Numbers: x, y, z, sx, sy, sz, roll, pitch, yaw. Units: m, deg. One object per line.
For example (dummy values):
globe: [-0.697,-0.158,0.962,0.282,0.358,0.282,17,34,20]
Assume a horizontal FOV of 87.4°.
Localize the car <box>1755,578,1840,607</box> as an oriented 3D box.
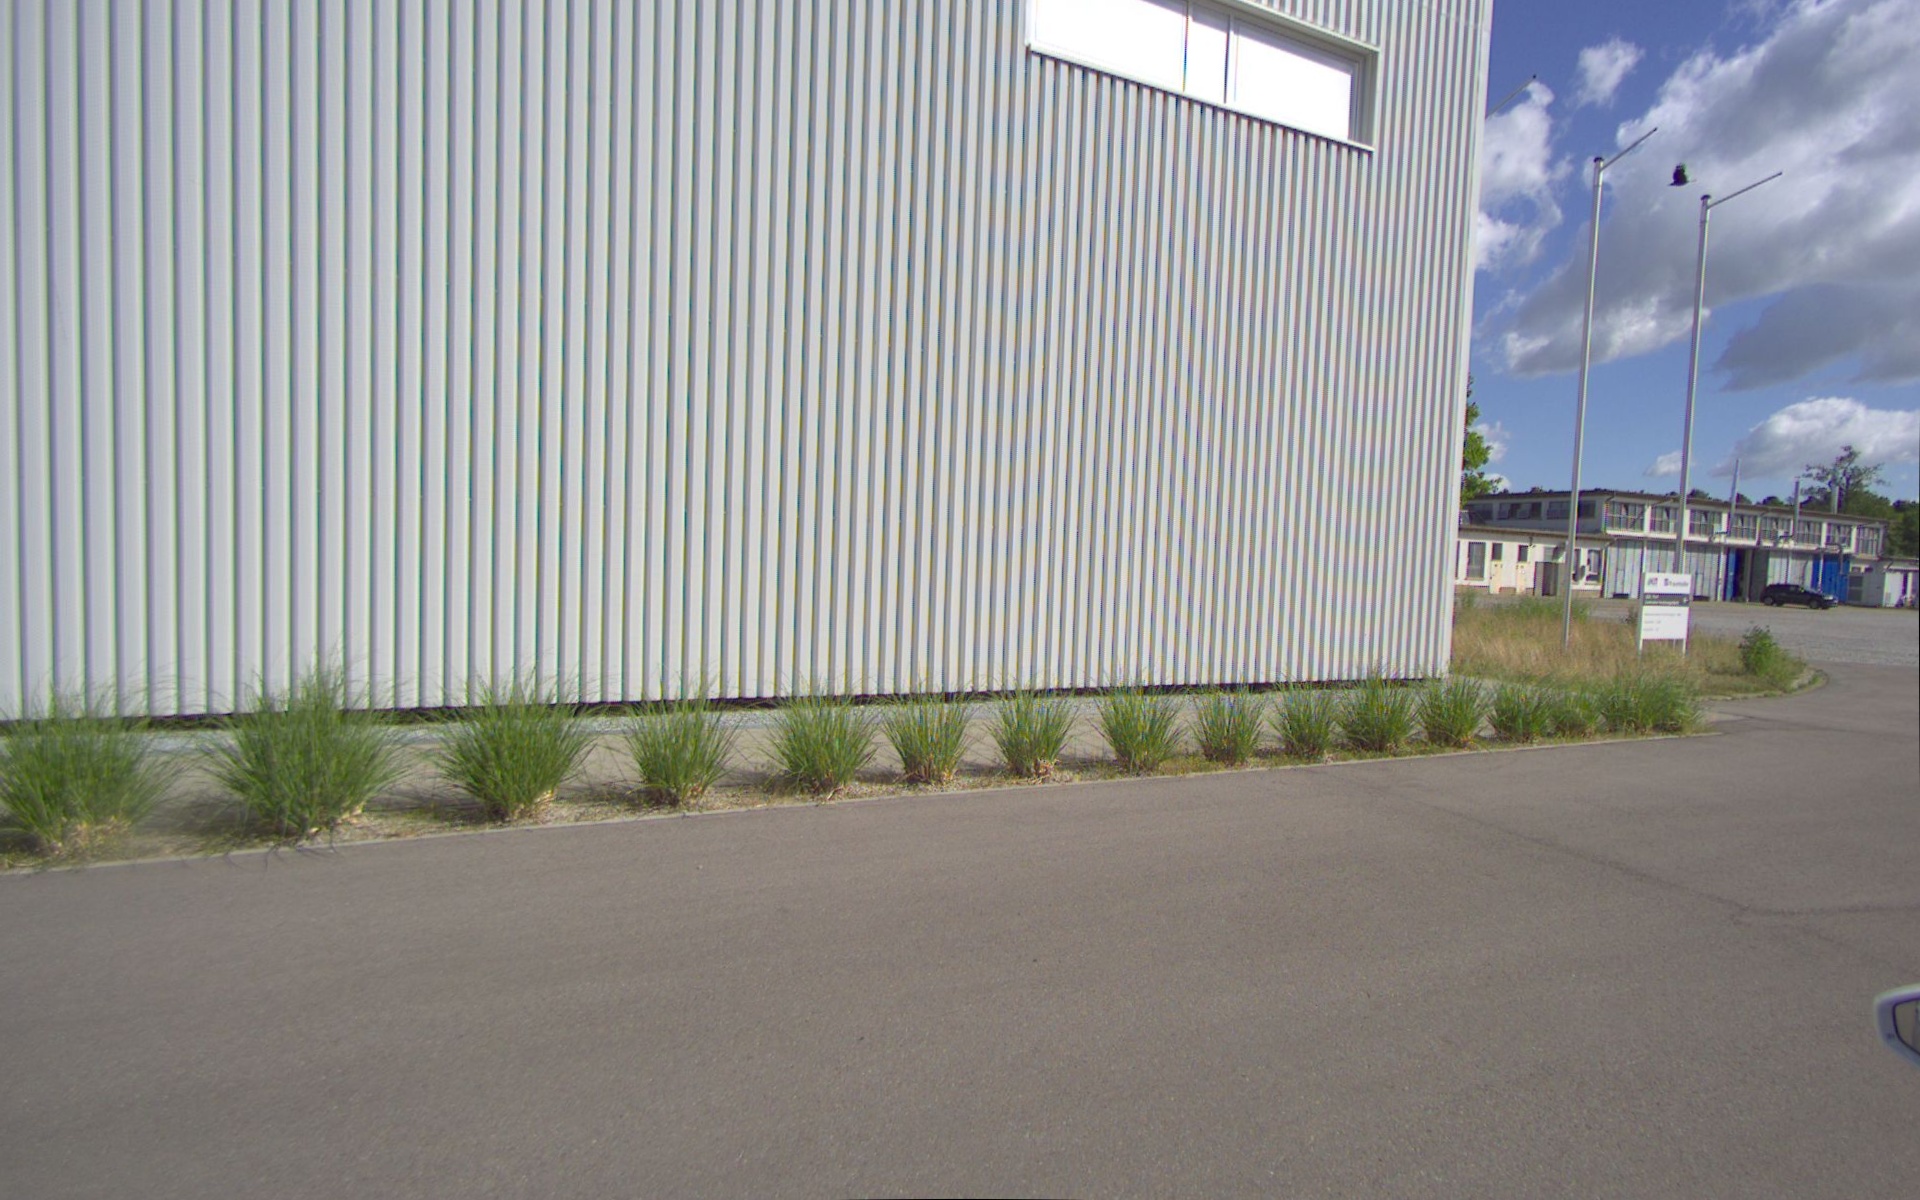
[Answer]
car: [58.655,-0.536,70.410,1.761,1.688,4.144,1,4,-28]
